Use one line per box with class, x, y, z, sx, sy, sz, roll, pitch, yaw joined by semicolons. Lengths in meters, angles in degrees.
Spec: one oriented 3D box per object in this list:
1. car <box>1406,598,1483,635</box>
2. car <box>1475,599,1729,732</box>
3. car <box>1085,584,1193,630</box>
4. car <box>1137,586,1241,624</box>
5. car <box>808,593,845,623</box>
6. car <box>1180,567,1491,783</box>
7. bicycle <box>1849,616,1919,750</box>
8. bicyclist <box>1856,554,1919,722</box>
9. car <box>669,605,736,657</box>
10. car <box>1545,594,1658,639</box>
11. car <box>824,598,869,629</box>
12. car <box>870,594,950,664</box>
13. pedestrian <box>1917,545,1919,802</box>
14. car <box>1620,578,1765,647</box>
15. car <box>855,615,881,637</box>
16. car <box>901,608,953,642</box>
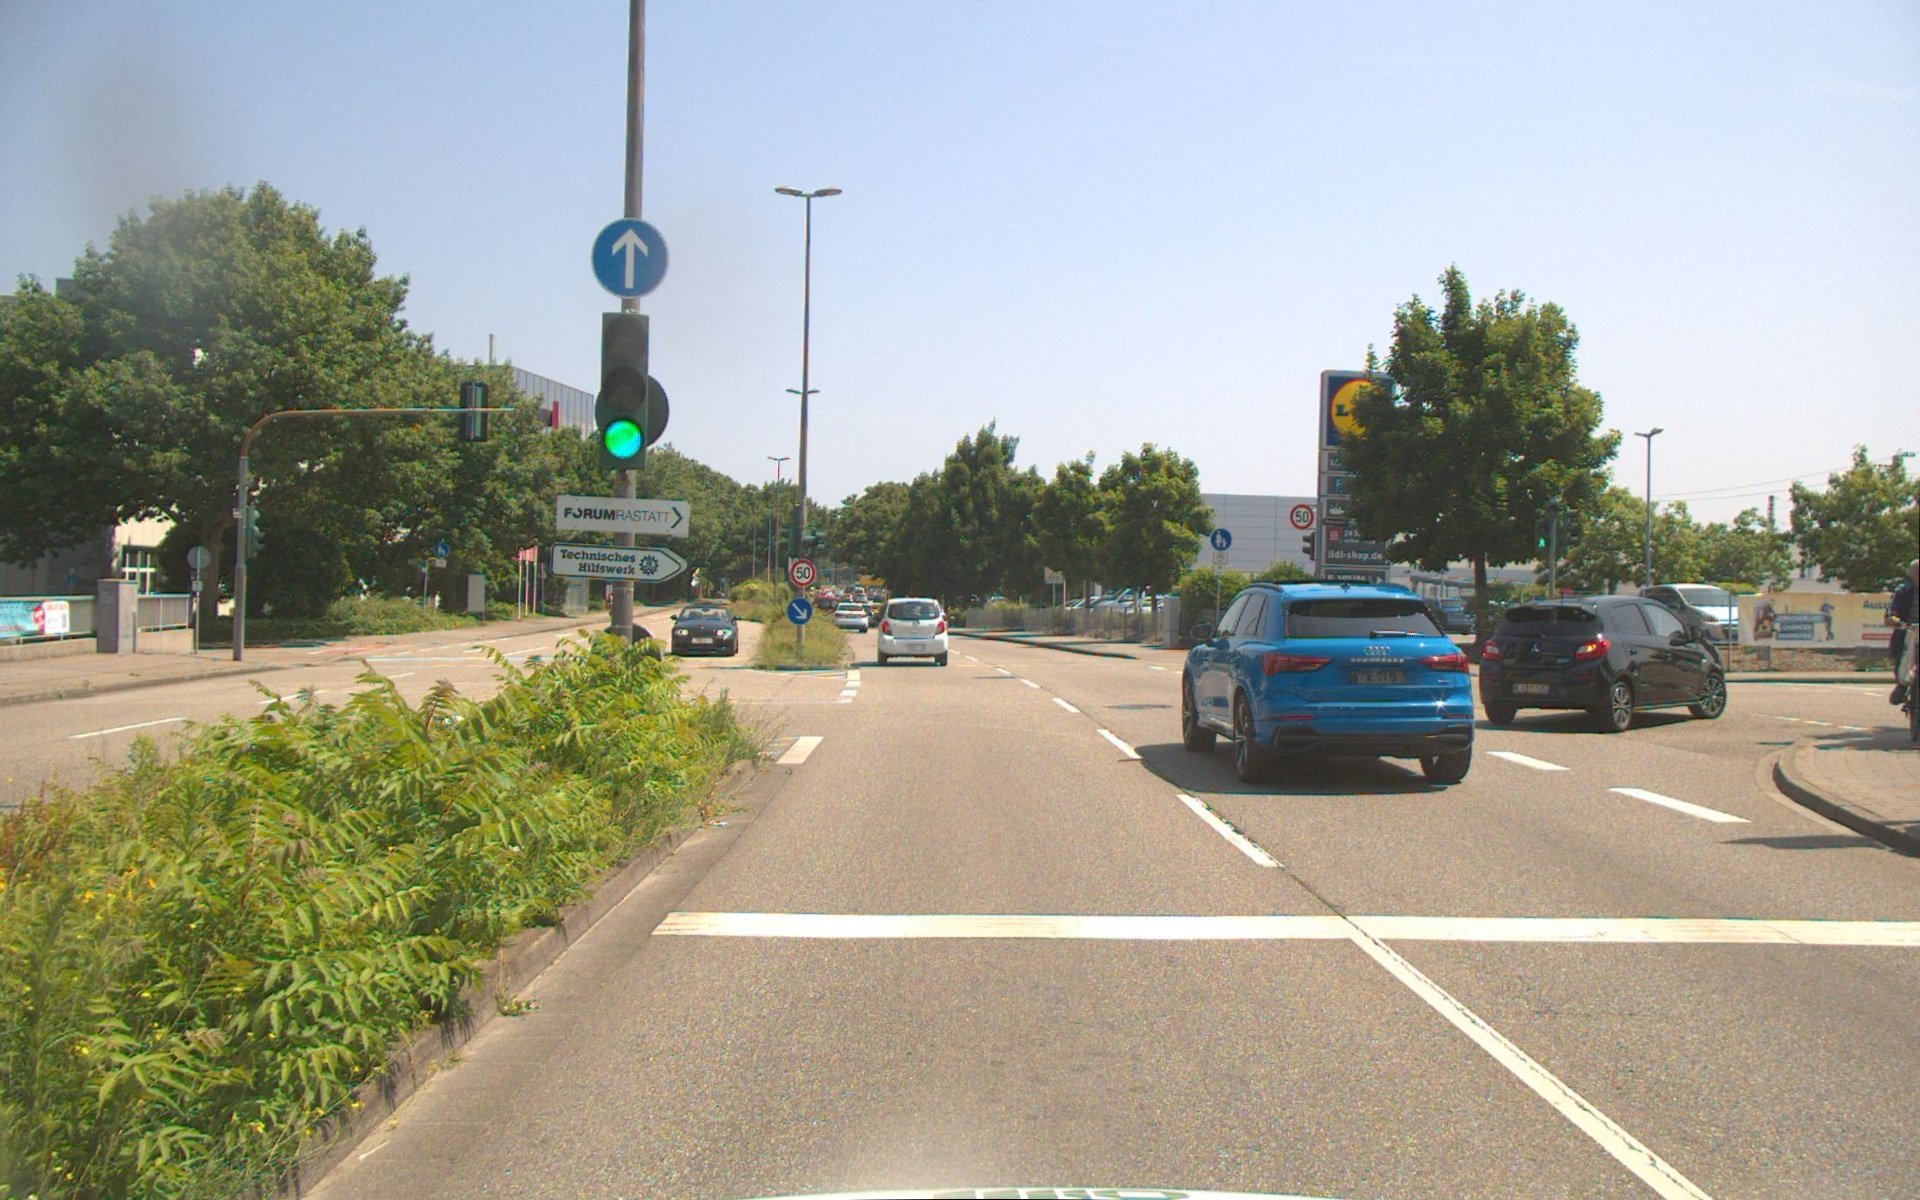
car;19.145;0.615;65.518;1.591;1.418;3.711;0;0;-7
car;7.654;0.709;19.594;1.594;1.425;3.406;0;0;45
car;8.081;0.317;74.738;4.528;1.958;1.824;1;0;-7
car;9.345;0.197;67.594;3.920;1.446;1.695;1;0;-7
car;-7.699;0.453;95.093;1.849;1.636;3.993;1;0;-8
car;3.111;0.554;14.590;1.771;1.620;4.349;0;0;0
bicycle;8.812;0.751;15.225;0.741;1.152;1.908;2;-1;18
bicyclist;8.817;0.358;15.273;0.758;1.489;1.091;2;-1;20
car;-7.020;0.823;45.296;1.696;1.347;4.142;0;0;-7
car;20.739;0.543;53.650;1.702;1.418;4.074;0;-1;-7
car;-5.604;0.659;81.237;1.850;1.378;3.992;2;-1;-9
car;-1.215;0.664;38.935;1.607;1.579;3.320;0;0;-7
pedestrian;6.605;0.470;10.190;0.811;1.654;1.005;2;-2;-2
car;16.587;0.254;37.618;1.393;1.463;3.528;-1;1;-7
car;-6.036;1.683;108.368;1.414;1.372;3.454;0;0;-8
car;-1.595;1.153;77.912;1.832;1.499;3.991;2;-1;-10
